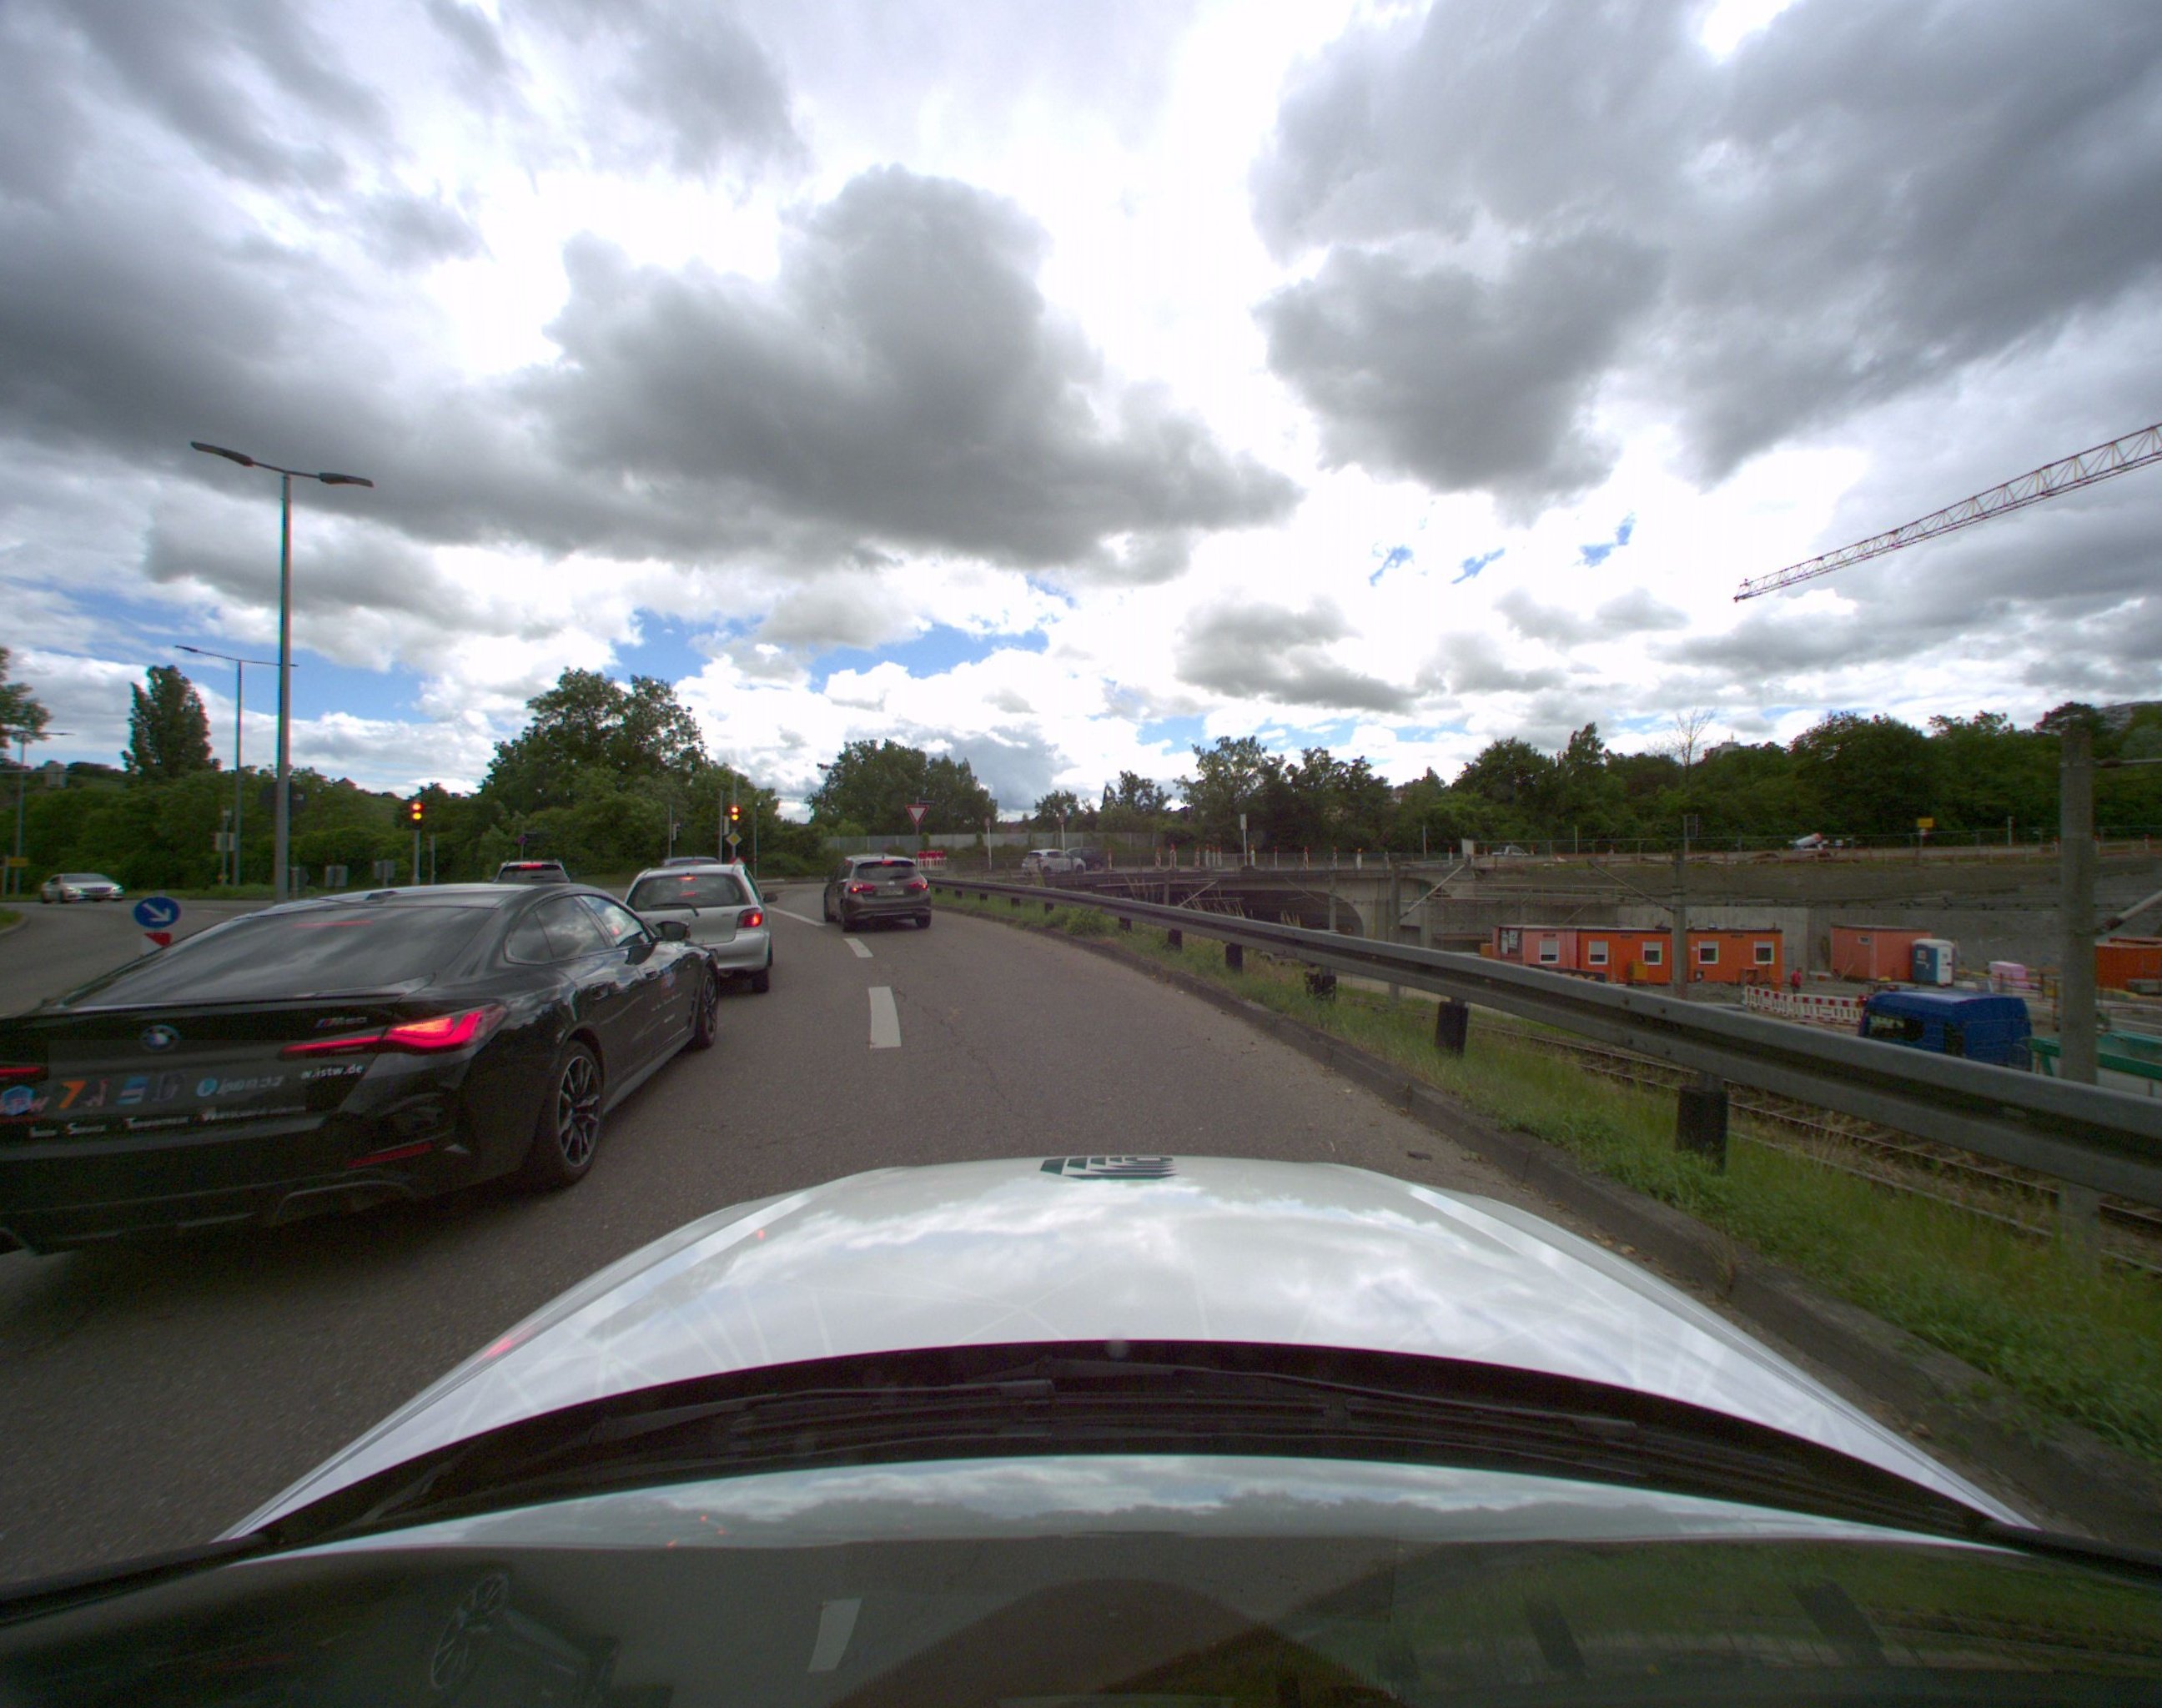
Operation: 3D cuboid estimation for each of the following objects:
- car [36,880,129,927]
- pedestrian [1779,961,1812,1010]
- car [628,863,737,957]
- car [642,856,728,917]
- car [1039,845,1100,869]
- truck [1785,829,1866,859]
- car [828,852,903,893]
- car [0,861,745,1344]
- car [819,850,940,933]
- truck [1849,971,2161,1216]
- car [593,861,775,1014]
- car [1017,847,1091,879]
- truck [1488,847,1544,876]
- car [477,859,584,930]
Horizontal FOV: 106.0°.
[{"bbox_3d":[-49.195,2.388,40.121,4.269,1.994,1.947,2,-1,27],"label":"car"},{"bbox_3d":[31.433,5.763,35.819,0.800,2.014,0.702,4,-2,-8],"label":"pedestrian"},{"bbox_3d":[-7.532,0.946,15.512,1.571,1.368,4.050,-3,2,-25],"label":"car"},{"bbox_3d":[-10.903,0.832,22.312,1.555,1.507,3.343,-2,0,-36],"label":"car"},{"bbox_3d":[-0.795,0.196,55.763,3.790,1.552,1.631,-1,-2,-21],"label":"car"},{"bbox_3d":[54.837,-0.739,60.022,3.965,2.014,2.004,2,-1,7],"label":"truck"},{"bbox_3d":[-8.837,0.760,33.723,1.811,1.552,3.792,1,-1,4],"label":"car"},{"bbox_3d":[-3.636,0.843,5.172,1.874,1.476,4.943,-2,0,-12],"label":"car"},{"bbox_3d":[-4.525,0.734,17.859,1.807,1.552,3.967,-1,0,-25],"label":"car"},{"bbox_3d":[22.987,5.286,16.473,2.836,3.893,11.588,0,1,-8],"label":"truck"},{"bbox_3d":[-4.857,0.884,10.425,1.674,1.469,3.603,-3,1,-20],"label":"car"},{"bbox_3d":[-1.453,0.504,44.848,1.696,1.675,4.023,-1,-2,44],"label":"car"},{"bbox_3d":[32.683,0.561,61.236,3.212,2.014,1.737,2,-1,-6],"label":"truck"},{"bbox_3d":[-13.722,0.928,20.506,1.665,1.507,3.737,-3,2,-26],"label":"car"}]
